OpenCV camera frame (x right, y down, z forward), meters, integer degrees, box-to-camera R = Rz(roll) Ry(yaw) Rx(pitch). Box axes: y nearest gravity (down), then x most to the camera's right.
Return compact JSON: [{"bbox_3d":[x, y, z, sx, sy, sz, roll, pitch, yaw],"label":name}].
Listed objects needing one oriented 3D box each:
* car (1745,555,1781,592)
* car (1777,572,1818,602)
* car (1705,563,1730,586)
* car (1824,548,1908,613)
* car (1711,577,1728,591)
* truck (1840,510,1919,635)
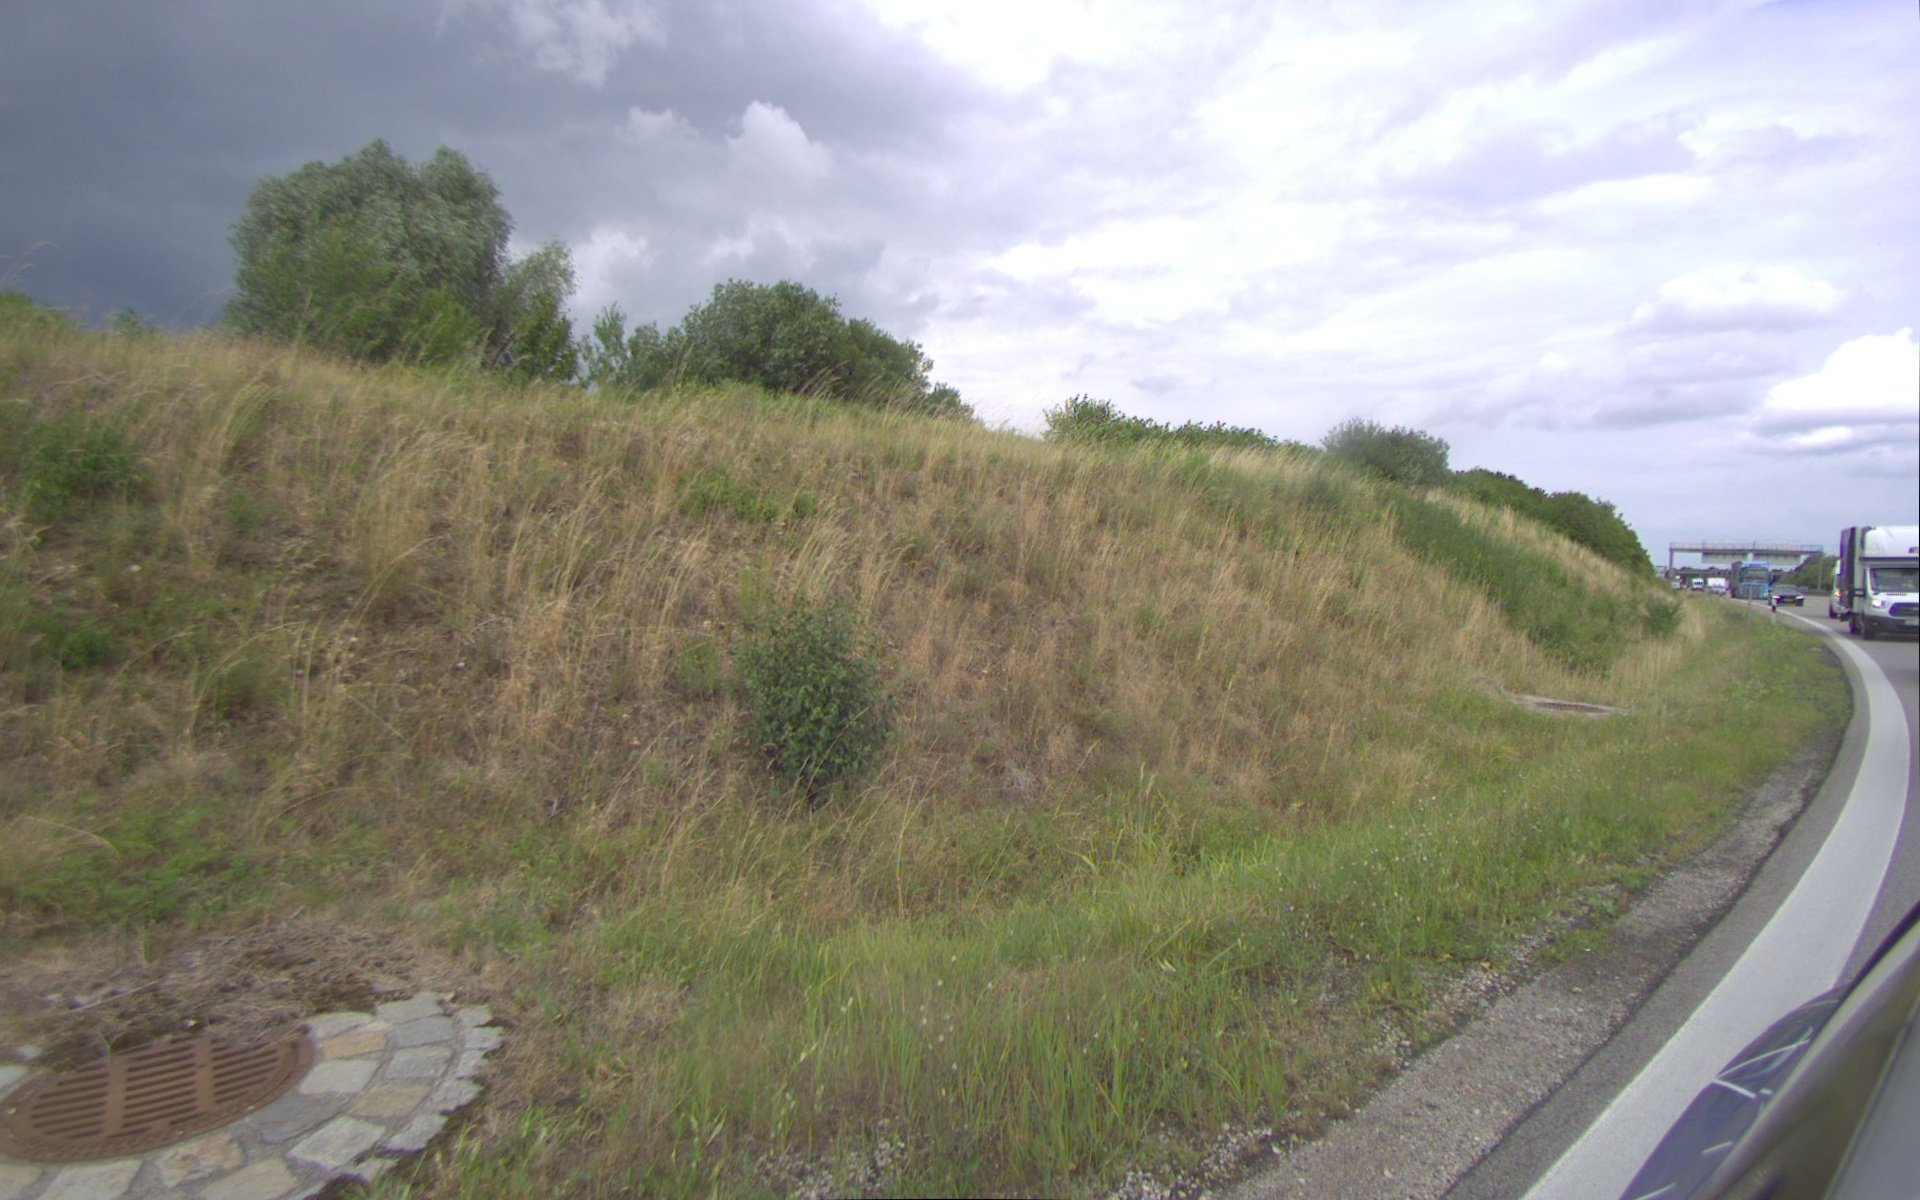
[{"bbox_3d":[84.811,-2.808,107.017,2.491,3.756,7.604,2,2,35],"label":"car"},{"bbox_3d":[60.369,-0.967,73.002,1.988,2.038,3.949,2,2,36],"label":"car"},{"bbox_3d":[117.963,-3.932,157.656,2.930,3.509,6.488,2,2,35],"label":"car"},{"bbox_3d":[41.617,-0.925,46.666,2.009,2.779,6.842,1,2,35],"label":"car"},{"bbox_3d":[113.748,-2.385,151.666,1.920,2.057,3.948,2,2,36],"label":"car"},{"bbox_3d":[27.384,-0.781,29.120,2.436,3.275,7.098,2,2,36],"label":"truck"}]
